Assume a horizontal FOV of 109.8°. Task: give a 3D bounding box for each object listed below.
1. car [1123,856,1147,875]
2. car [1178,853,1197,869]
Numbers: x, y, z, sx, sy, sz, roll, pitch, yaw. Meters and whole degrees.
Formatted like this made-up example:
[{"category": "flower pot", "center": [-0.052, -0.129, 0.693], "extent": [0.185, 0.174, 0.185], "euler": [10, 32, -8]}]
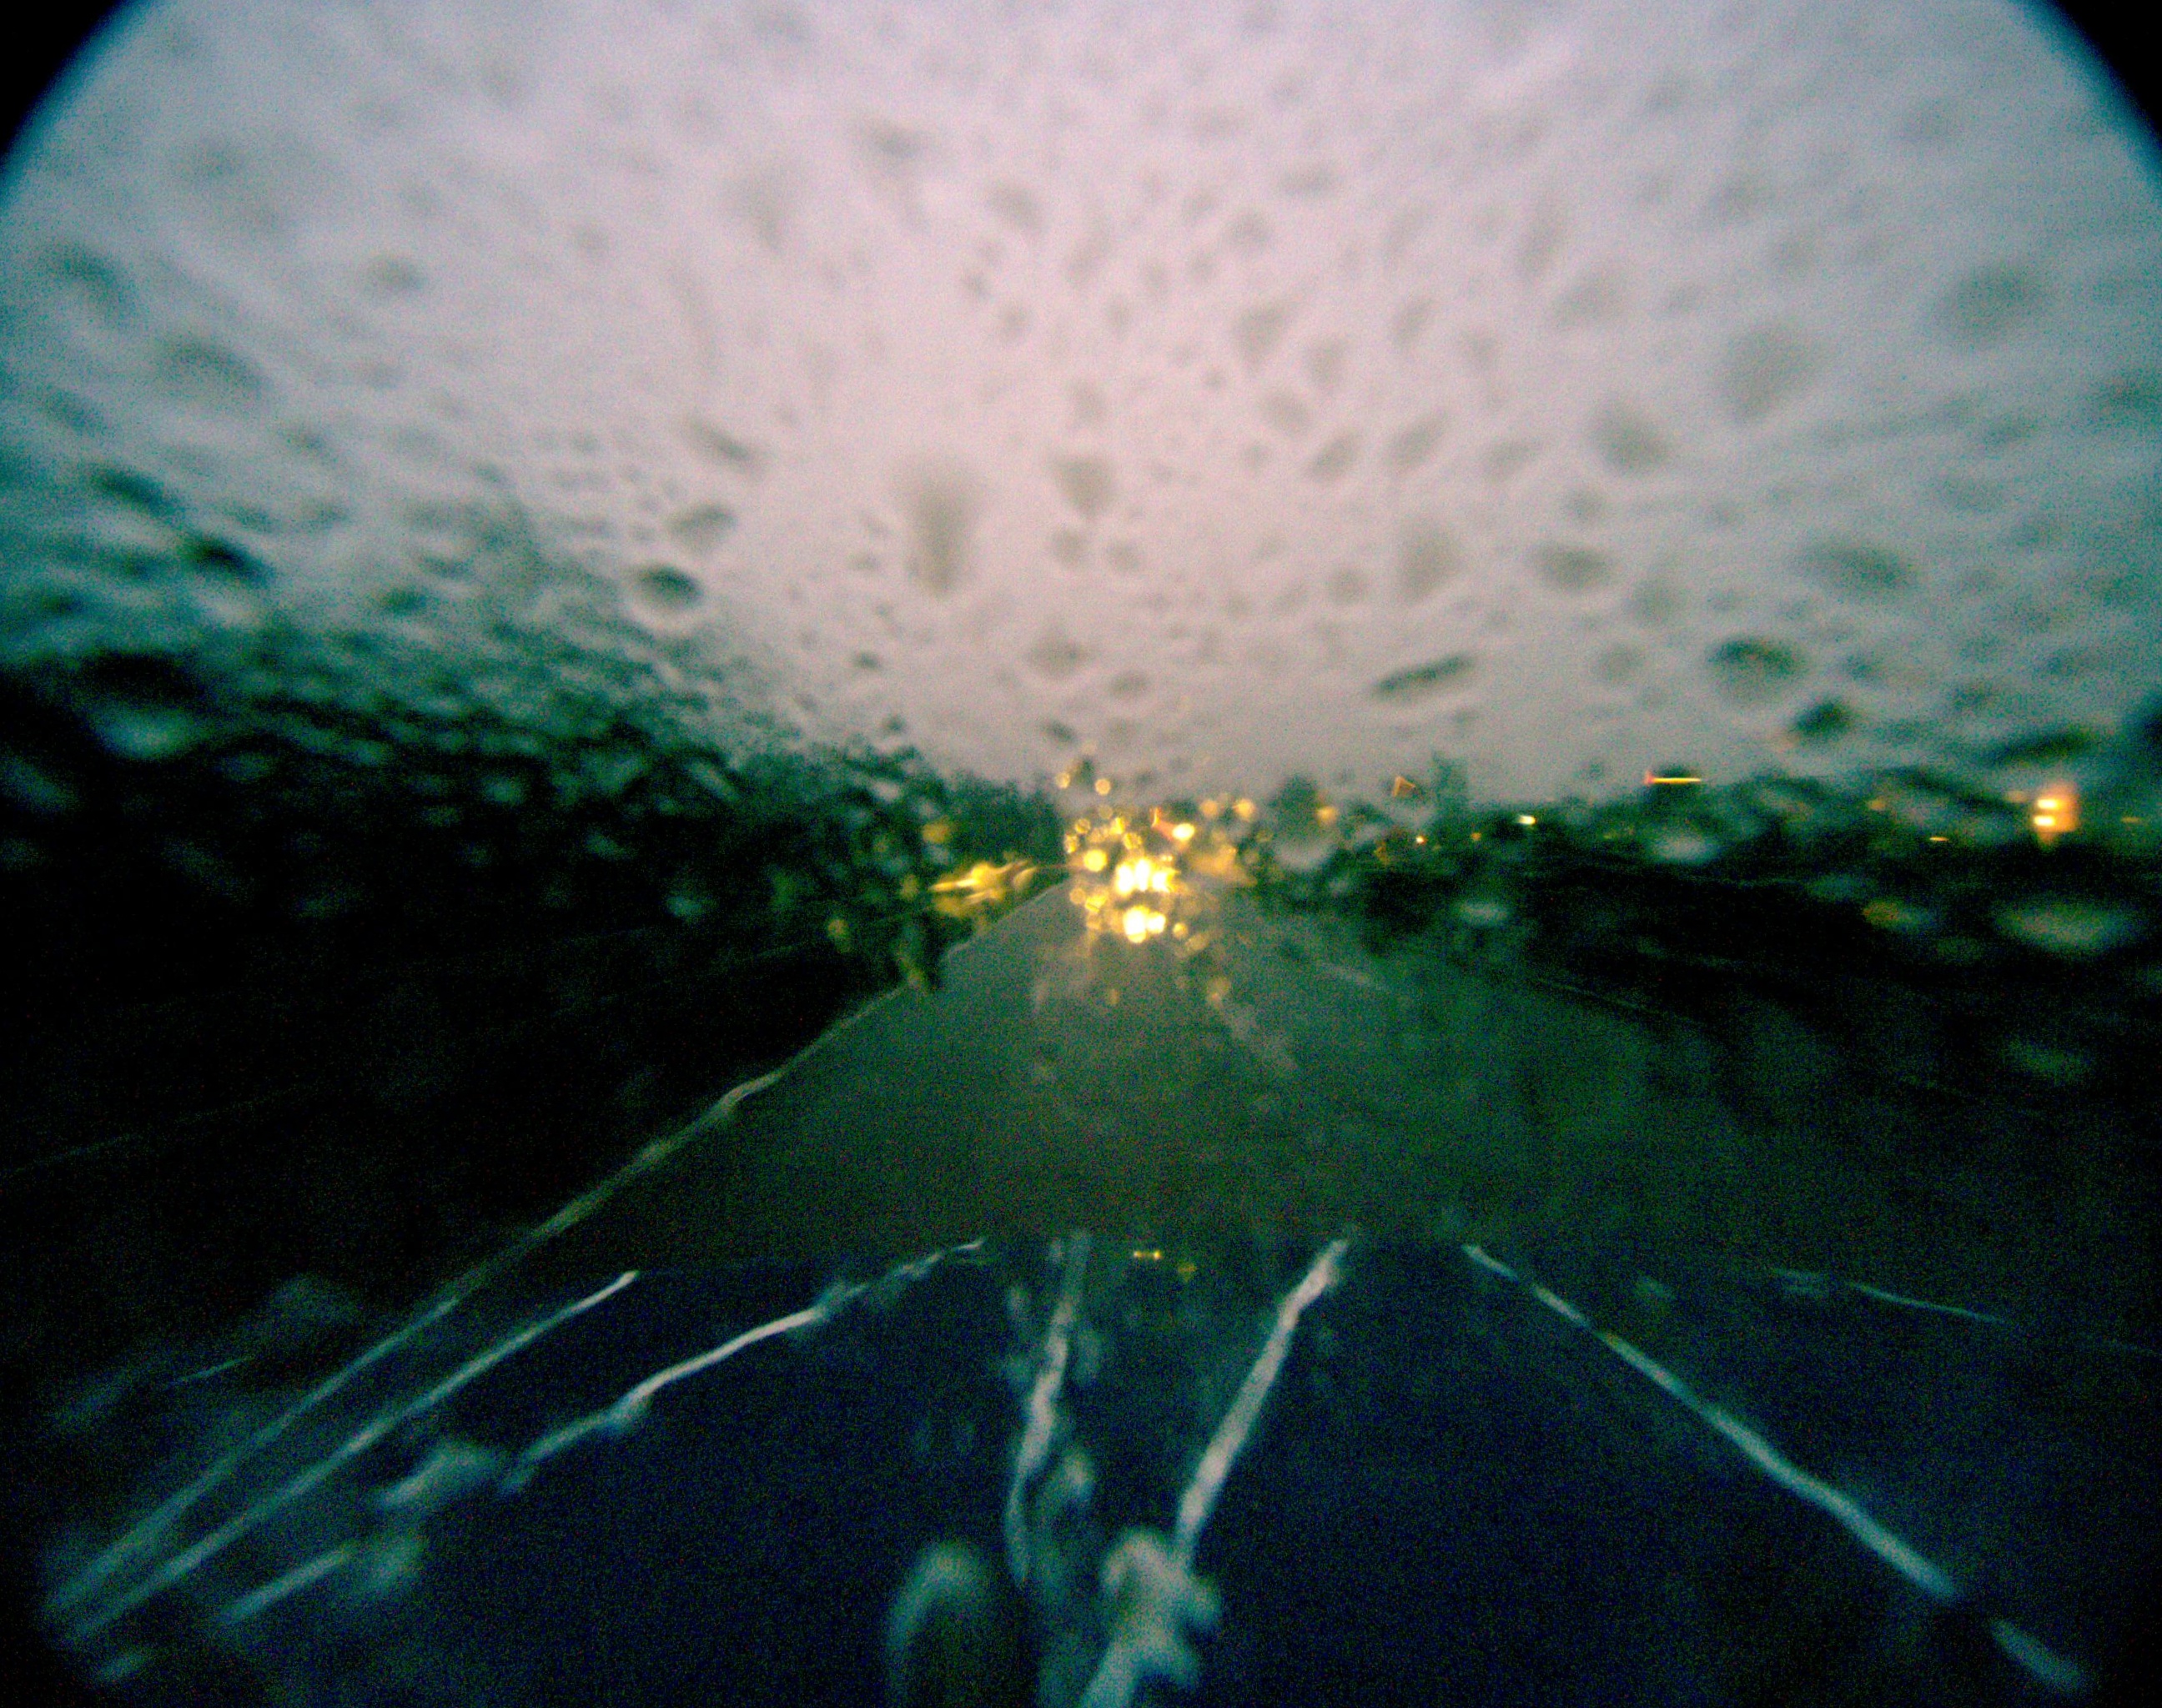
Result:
[{"category": "car", "center": [4.703, 0.991, 66.454], "extent": [1.886, 1.514, 4.000], "euler": [-2, 1, 3]}, {"category": "car", "center": [12.978, 0.874, 92.723], "extent": [1.998, 1.838, 3.674], "euler": [-2, 0, 6]}]
